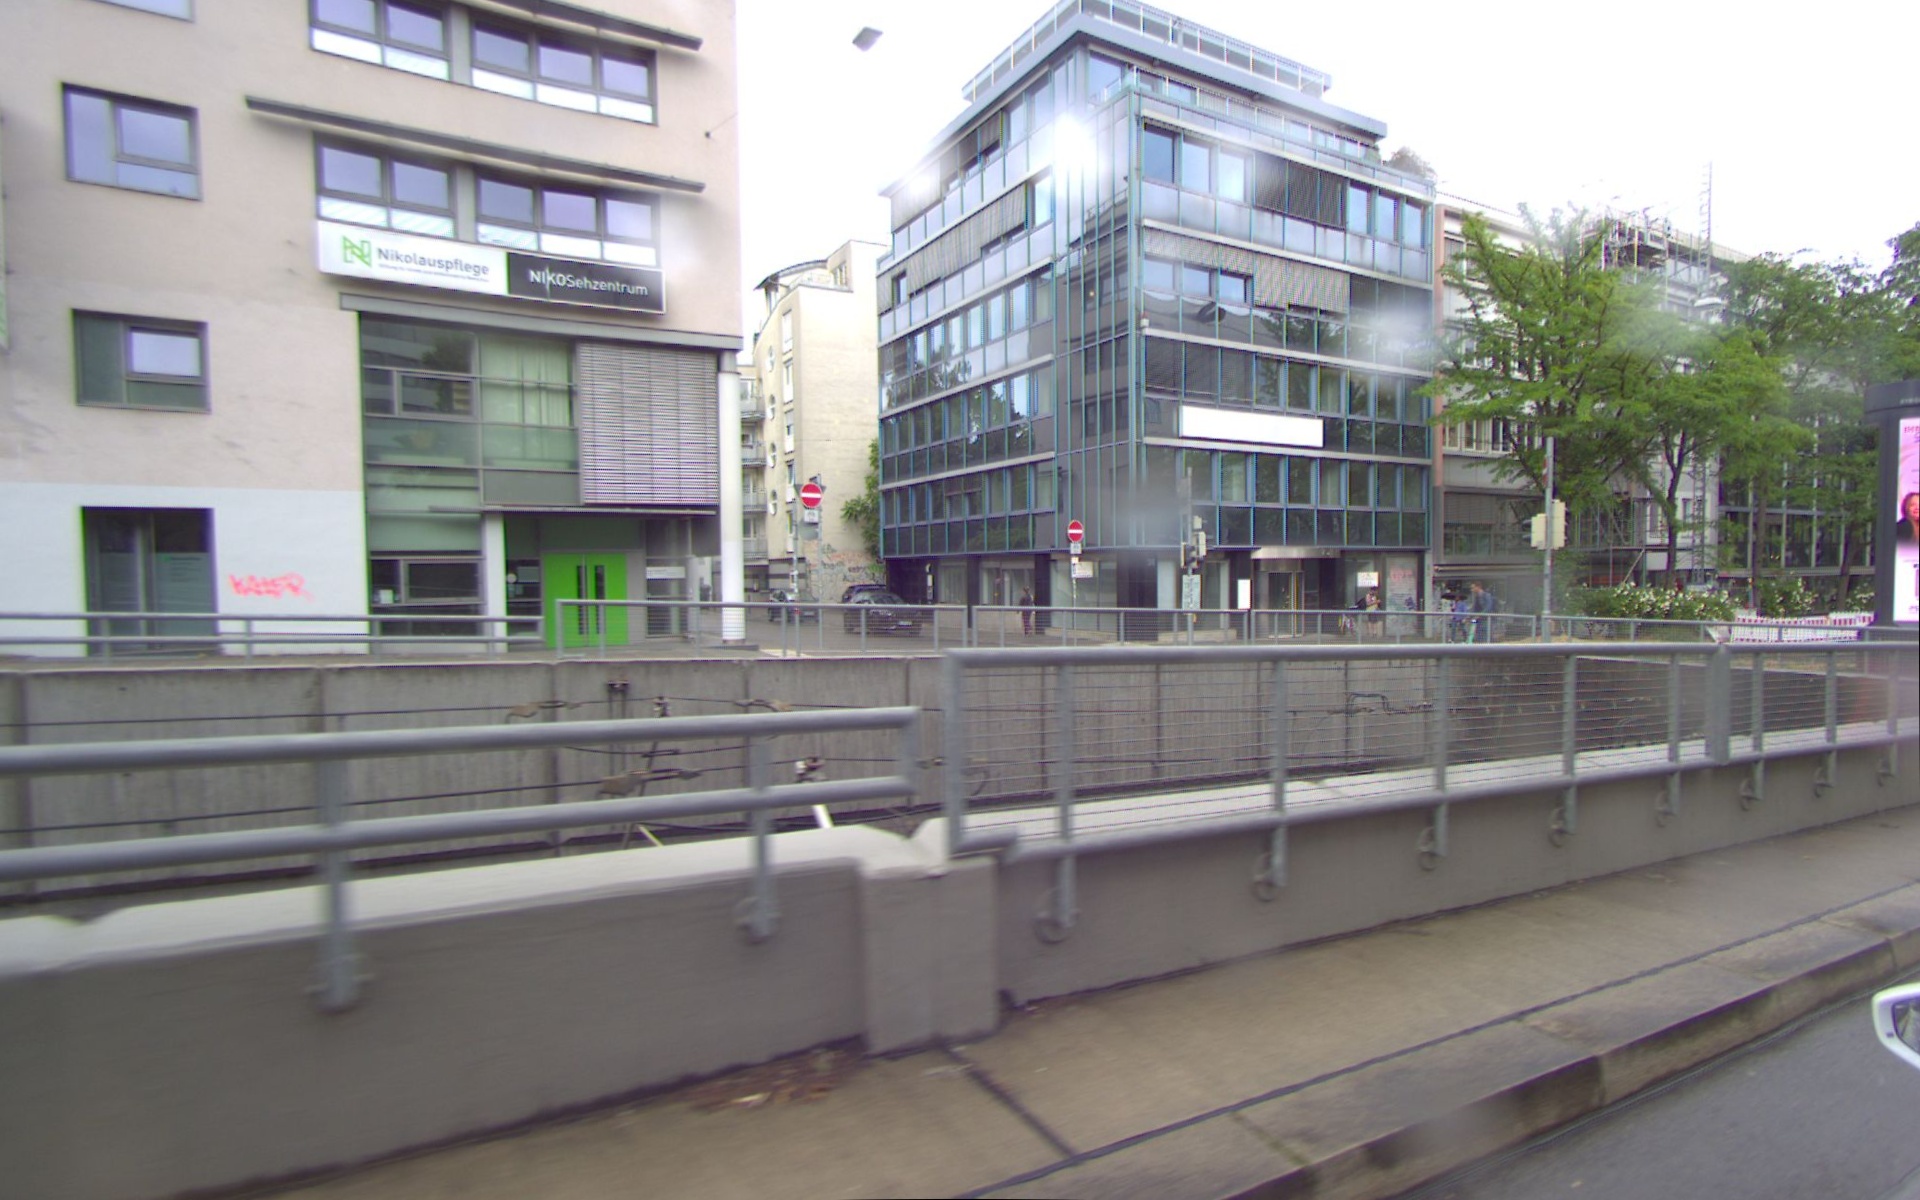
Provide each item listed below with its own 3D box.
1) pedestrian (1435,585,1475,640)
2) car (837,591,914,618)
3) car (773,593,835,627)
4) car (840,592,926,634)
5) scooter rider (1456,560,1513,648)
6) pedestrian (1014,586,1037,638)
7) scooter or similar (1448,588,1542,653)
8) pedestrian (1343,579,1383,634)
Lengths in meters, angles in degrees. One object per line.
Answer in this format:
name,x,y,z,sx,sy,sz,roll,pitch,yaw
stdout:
pedestrian,17.377,0.438,35.289,0.857,1.893,0.872,0,2,-31
car,-4.684,0.260,55.502,3.846,1.445,1.799,1,0,-27
car,-7.247,0.435,46.409,1.671,1.445,3.868,1,0,-28
car,-2.899,0.468,37.114,1.788,1.445,3.868,1,0,-28
scooter rider,12.064,0.088,23.117,0.807,1.974,0.810,1,1,-6
pedestrian,2.184,0.397,33.559,0.482,1.694,0.661,1,1,-30
scooter or similar,12.300,0.459,23.101,1.919,1.438,0.547,1,1,-7
pedestrian,14.073,0.226,35.114,0.943,1.893,0.865,1,1,-11
